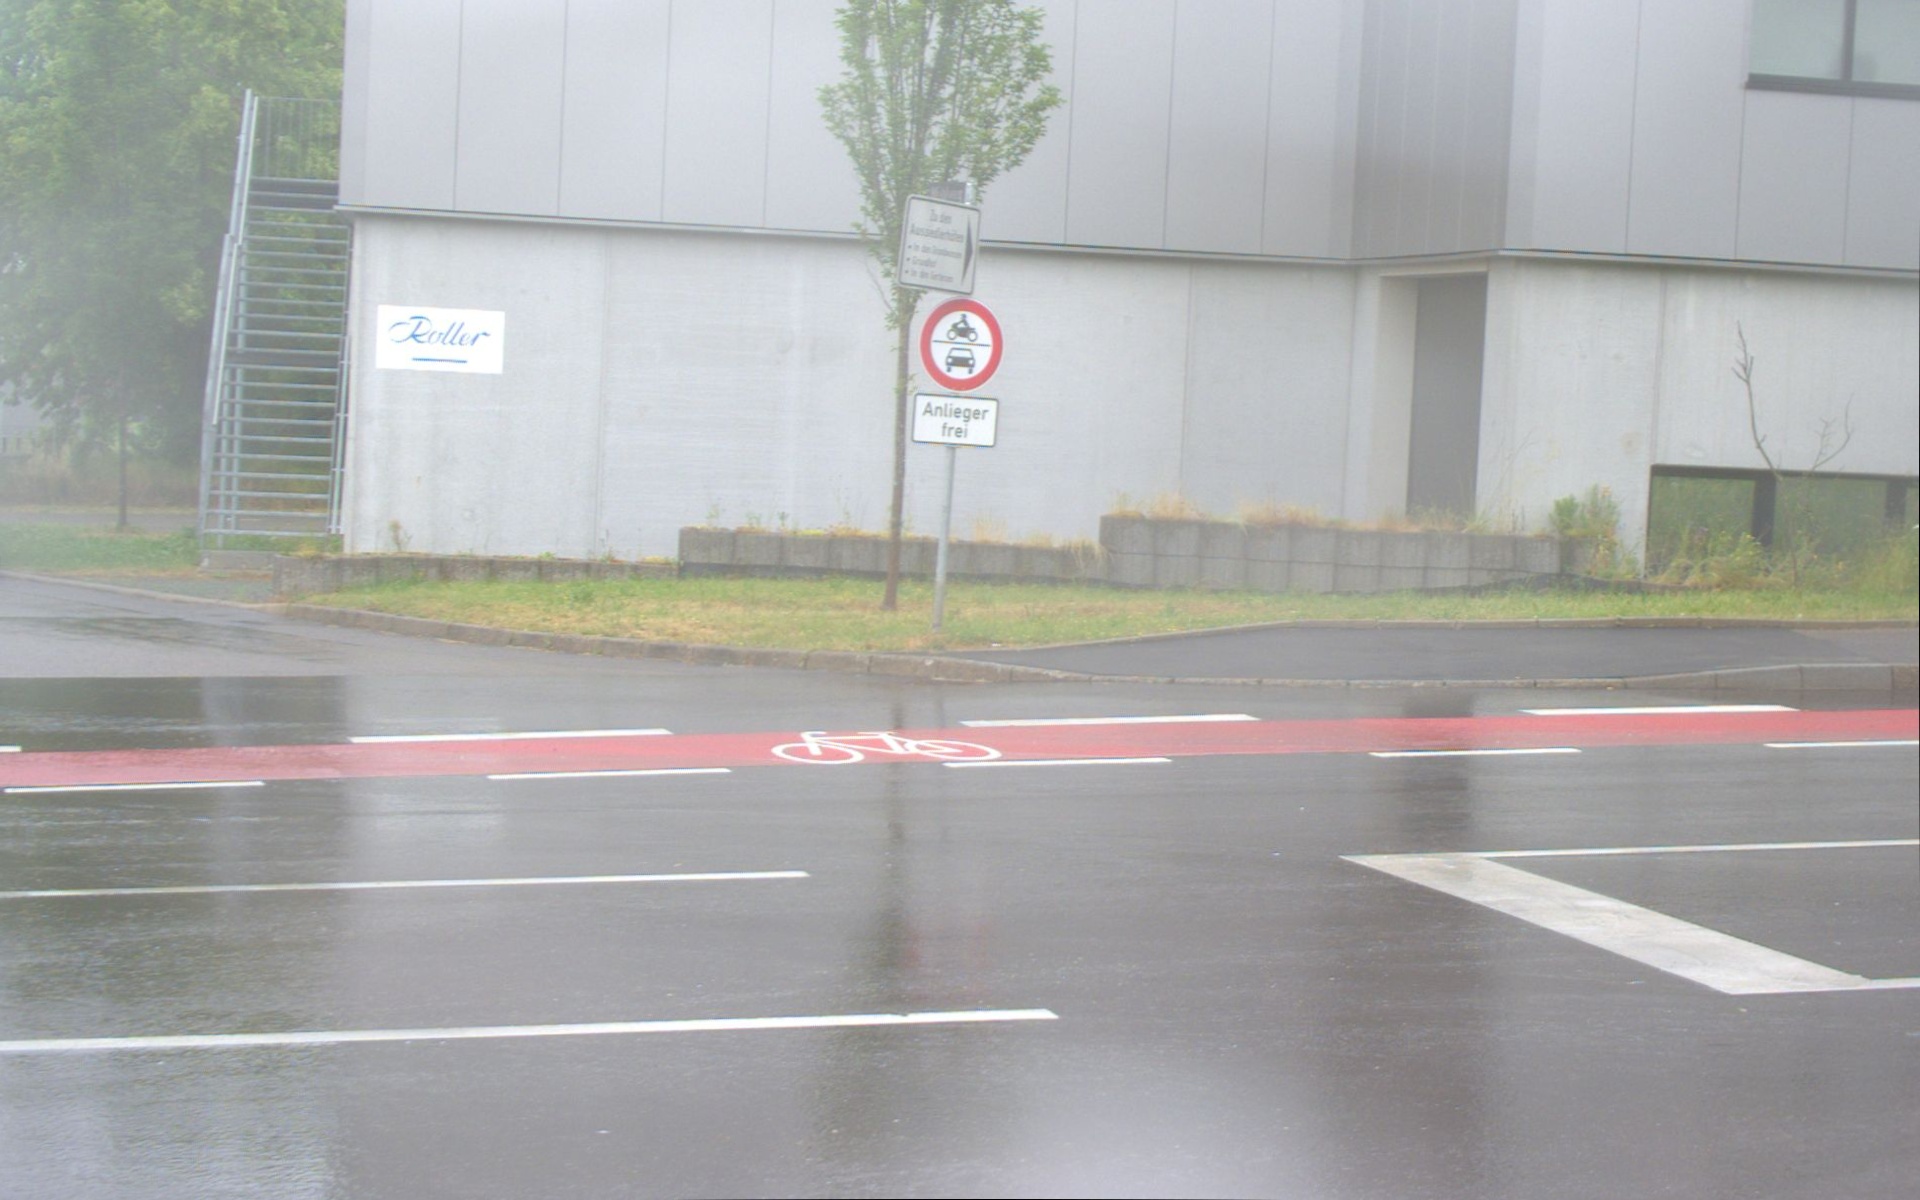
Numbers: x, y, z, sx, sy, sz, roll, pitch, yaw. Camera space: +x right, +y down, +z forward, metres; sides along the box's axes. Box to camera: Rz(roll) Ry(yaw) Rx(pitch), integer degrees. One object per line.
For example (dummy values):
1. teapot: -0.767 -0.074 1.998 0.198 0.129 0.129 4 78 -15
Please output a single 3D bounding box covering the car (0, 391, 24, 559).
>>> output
1. car: -10.907 -1.279 34.367 1.951 1.604 4.447 0 2 -29
